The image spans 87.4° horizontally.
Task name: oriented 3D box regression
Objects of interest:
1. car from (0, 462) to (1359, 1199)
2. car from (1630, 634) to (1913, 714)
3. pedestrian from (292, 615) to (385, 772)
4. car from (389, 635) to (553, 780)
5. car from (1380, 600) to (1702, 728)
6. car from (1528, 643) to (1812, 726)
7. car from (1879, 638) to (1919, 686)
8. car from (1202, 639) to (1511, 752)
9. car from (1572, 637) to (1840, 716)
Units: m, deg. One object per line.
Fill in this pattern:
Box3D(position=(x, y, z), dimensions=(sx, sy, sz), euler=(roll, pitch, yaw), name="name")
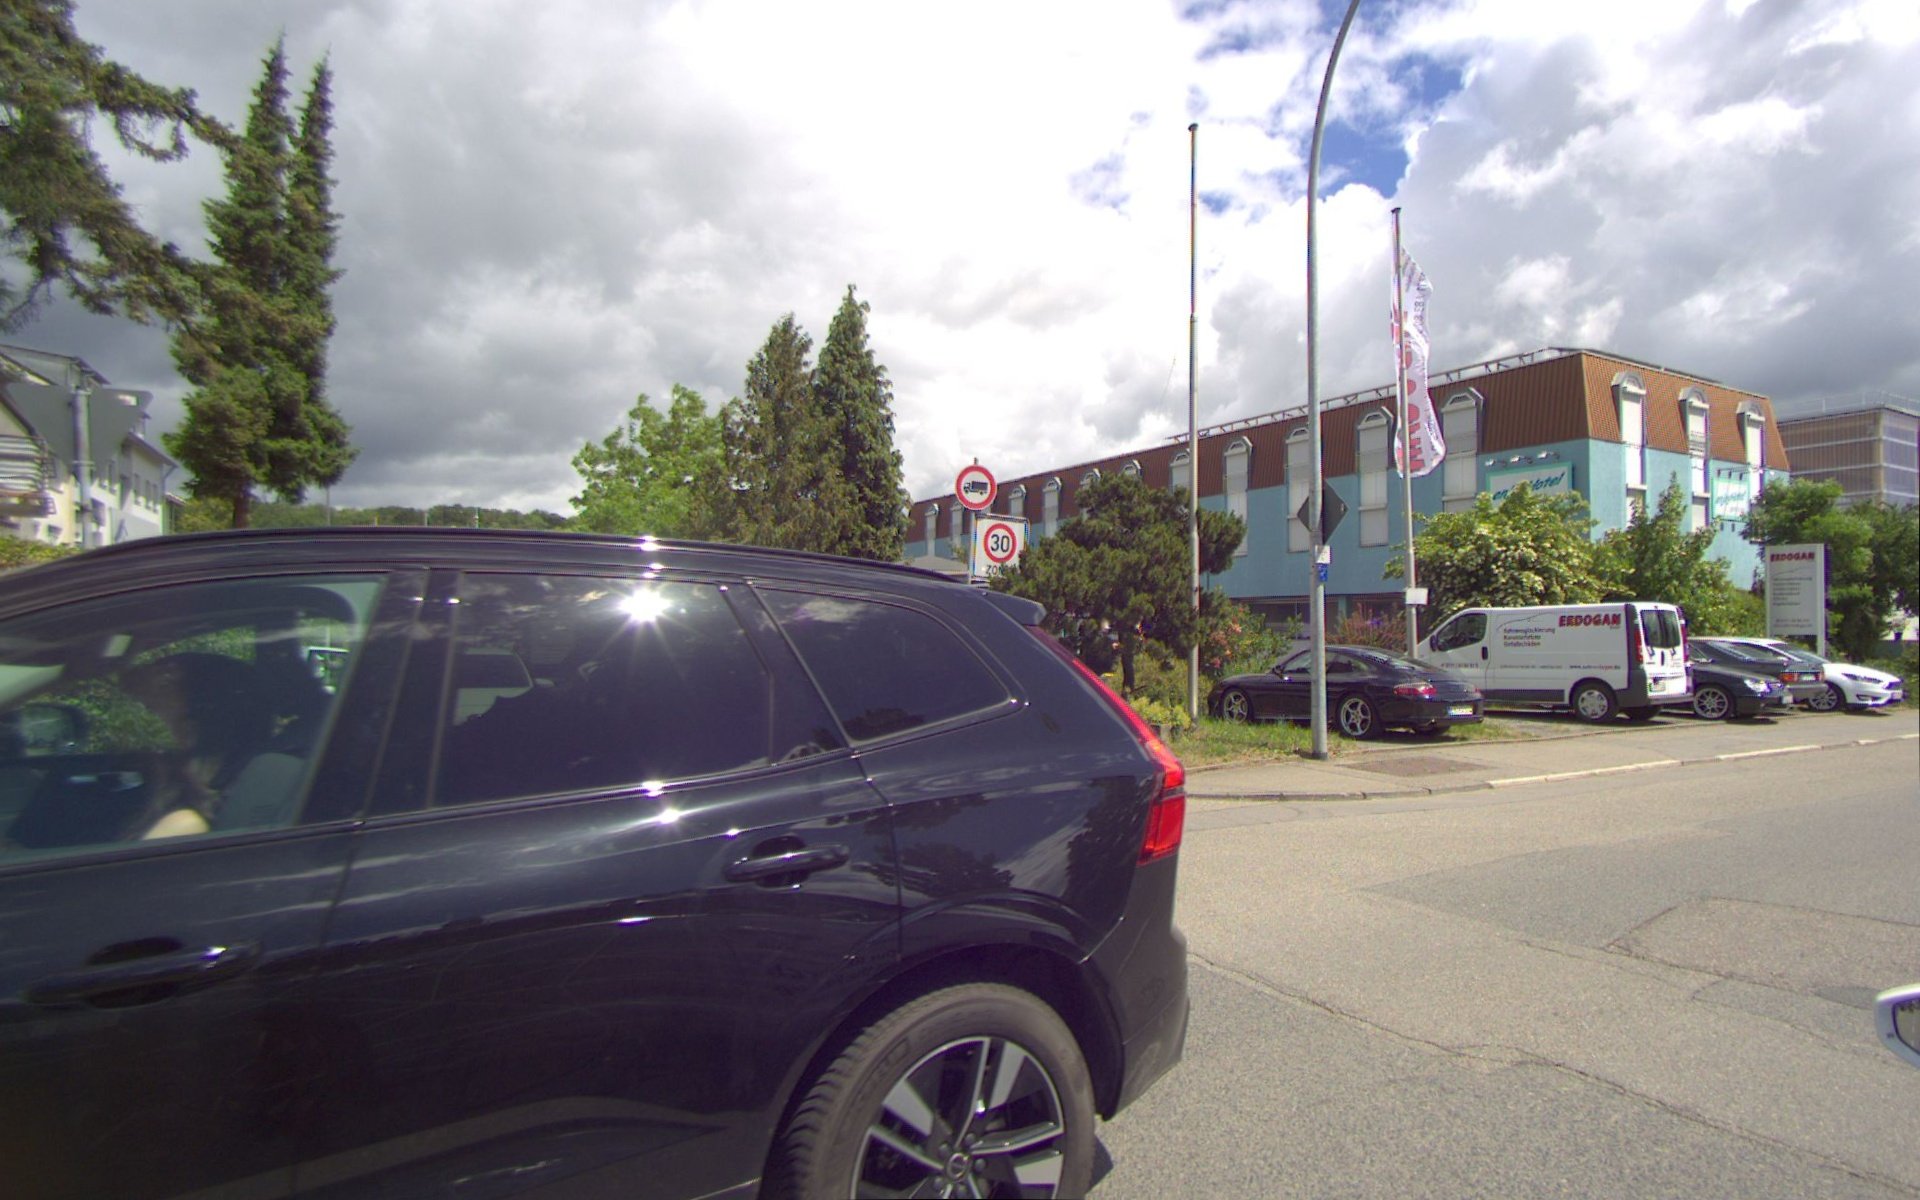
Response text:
Box3D(position=(-1.367, 0.695, 2.264), dimensions=(4.361, 1.637, 1.984), euler=(1, -3, -31), name="car")
Box3D(position=(17.130, 1.509, 21.462), dimensions=(1.849, 1.498, 4.356), euler=(2, -3, -29), name="car")
Box3D(position=(-7.206, 1.073, 11.671), dimensions=(0.671, 1.757, 0.631), euler=(1, -3, -10), name="pedestrian")
Box3D(position=(-6.083, 1.241, 12.415), dimensions=(1.593, 1.496, 3.540), euler=(1, -4, -28), name="car")
Box3D(position=(10.298, 1.069, 18.184), dimensions=(2.093, 1.998, 4.625), euler=(1, -2, -33), name="car")
Box3D(position=(13.133, 1.502, 18.821), dimensions=(1.850, 1.332, 3.967), euler=(2, -2, -31), name="car")
Box3D(position=(32.863, 2.043, 32.911), dimensions=(1.954, 1.553, 3.614), euler=(1, -2, -28), name="car")
Box3D(position=(5.699, 1.297, 14.910), dimensions=(1.850, 1.220, 3.966), euler=(1, 1, -31), name="car")
Box3D(position=(14.930, 1.461, 20.354), dimensions=(1.848, 1.373, 3.972), euler=(1, -2, -27), name="car")
